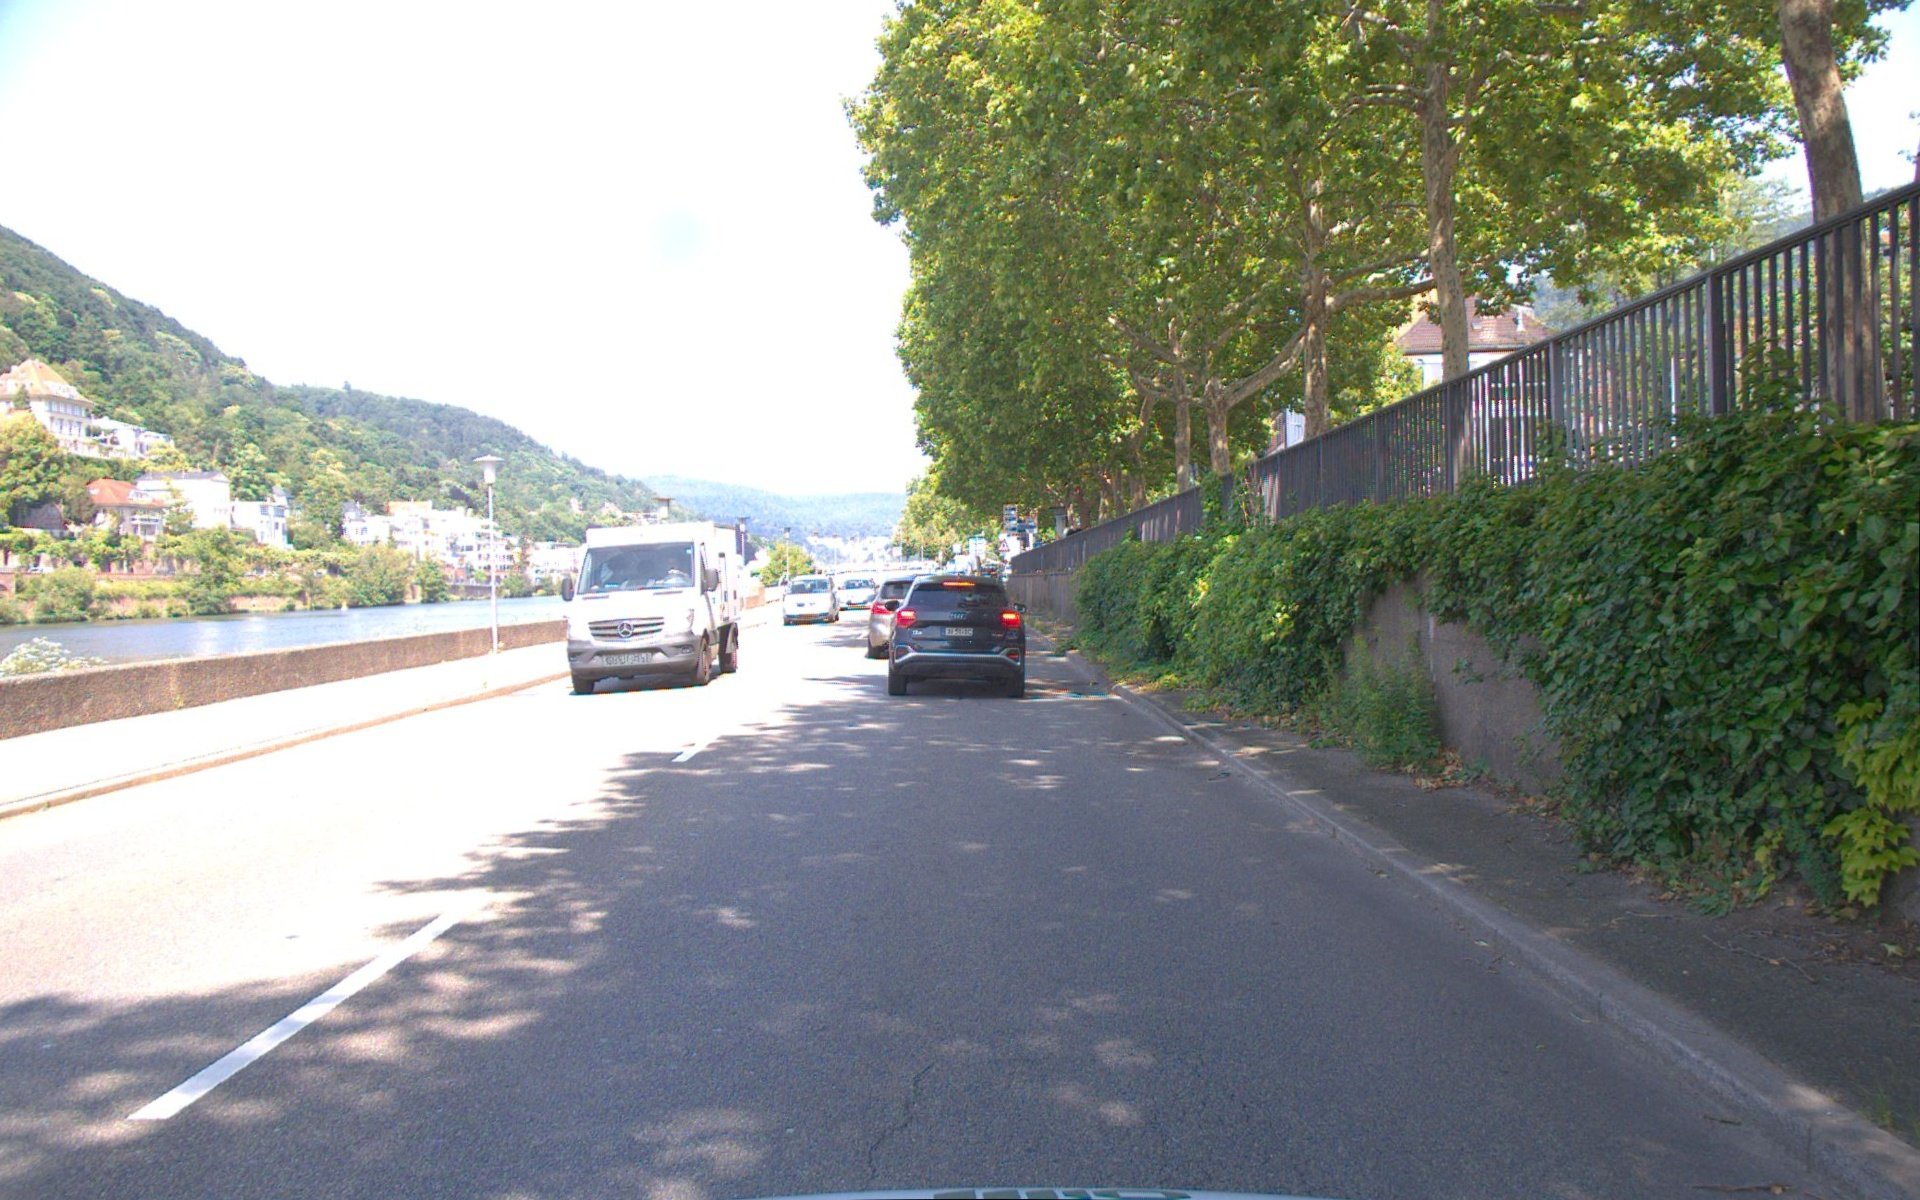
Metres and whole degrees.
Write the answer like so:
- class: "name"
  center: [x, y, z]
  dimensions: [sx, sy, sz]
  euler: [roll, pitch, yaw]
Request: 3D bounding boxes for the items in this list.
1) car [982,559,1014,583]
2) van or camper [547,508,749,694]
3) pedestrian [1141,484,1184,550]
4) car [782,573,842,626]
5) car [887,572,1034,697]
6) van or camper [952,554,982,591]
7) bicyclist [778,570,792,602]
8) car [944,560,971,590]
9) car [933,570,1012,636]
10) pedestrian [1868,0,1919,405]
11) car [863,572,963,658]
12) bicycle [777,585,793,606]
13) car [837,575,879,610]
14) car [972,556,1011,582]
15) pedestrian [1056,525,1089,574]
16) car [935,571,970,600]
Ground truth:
- class: "car"
  center: [3.544, -2.775, 156.067]
  dimensions: [2.608, 2.048, 5.823]
  euler: [-4, 1, -1]
- class: "van or camper"
  center: [-4.674, -0.025, 25.657]
  dimensions: [2.035, 2.440, 5.384]
  euler: [-4, 1, -1]
- class: "pedestrian"
  center: [4.486, -1.828, 36.723]
  dimensions: [0.738, 1.389, 0.814]
  euler: [-4, 1, -3]
- class: "car"
  center: [-5.073, -0.049, 57.024]
  dimensions: [1.696, 1.678, 4.176]
  euler: [-3, 1, -1]
- class: "car"
  center: [-0.041, 0.392, 22.273]
  dimensions: [1.791, 1.512, 3.999]
  euler: [0, 1, -1]
- class: "van or camper"
  center: [0.569, -2.253, 134.341]
  dimensions: [2.262, 2.896, 4.246]
  euler: [-2, 1, 1]
- class: "bicyclist"
  center: [-9.281, -0.742, 87.665]
  dimensions: [0.624, 1.702, 0.871]
  euler: [-2, 1, -1]
- class: "car"
  center: [-0.202, -1.876, 122.903]
  dimensions: [1.953, 2.207, 3.999]
  euler: [-1, 1, -2]
- class: "car"
  center: [0.262, 0.035, 40.138]
  dimensions: [1.791, 1.512, 3.999]
  euler: [0, 1, -1]
- class: "pedestrian"
  center: [4.236, -1.651, 6.759]
  dimensions: [0.651, 1.619, 0.650]
  euler: [-2, 1, -1]
- class: "car"
  center: [-0.899, 0.233, 31.839]
  dimensions: [1.791, 1.537, 3.999]
  euler: [0, 1, -1]
- class: "bicycle"
  center: [-9.266, -0.238, 87.607]
  dimensions: [0.619, 1.029, 1.985]
  euler: [-2, 1, -1]
- class: "car"
  center: [-4.705, -0.374, 76.627]
  dimensions: [1.696, 1.467, 4.044]
  euler: [-3, 1, -1]
- class: "car"
  center: [2.745, -2.720, 145.604]
  dimensions: [3.036, 2.048, 5.823]
  euler: [-4, 1, -1]
- class: "pedestrian"
  center: [3.873, -1.741, 56.791]
  dimensions: [0.918, 1.606, 1.027]
  euler: [-4, 1, -3]
- class: "car"
  center: [-0.409, -0.791, 87.823]
  dimensions: [1.791, 1.469, 3.999]
  euler: [0, 1, -1]
